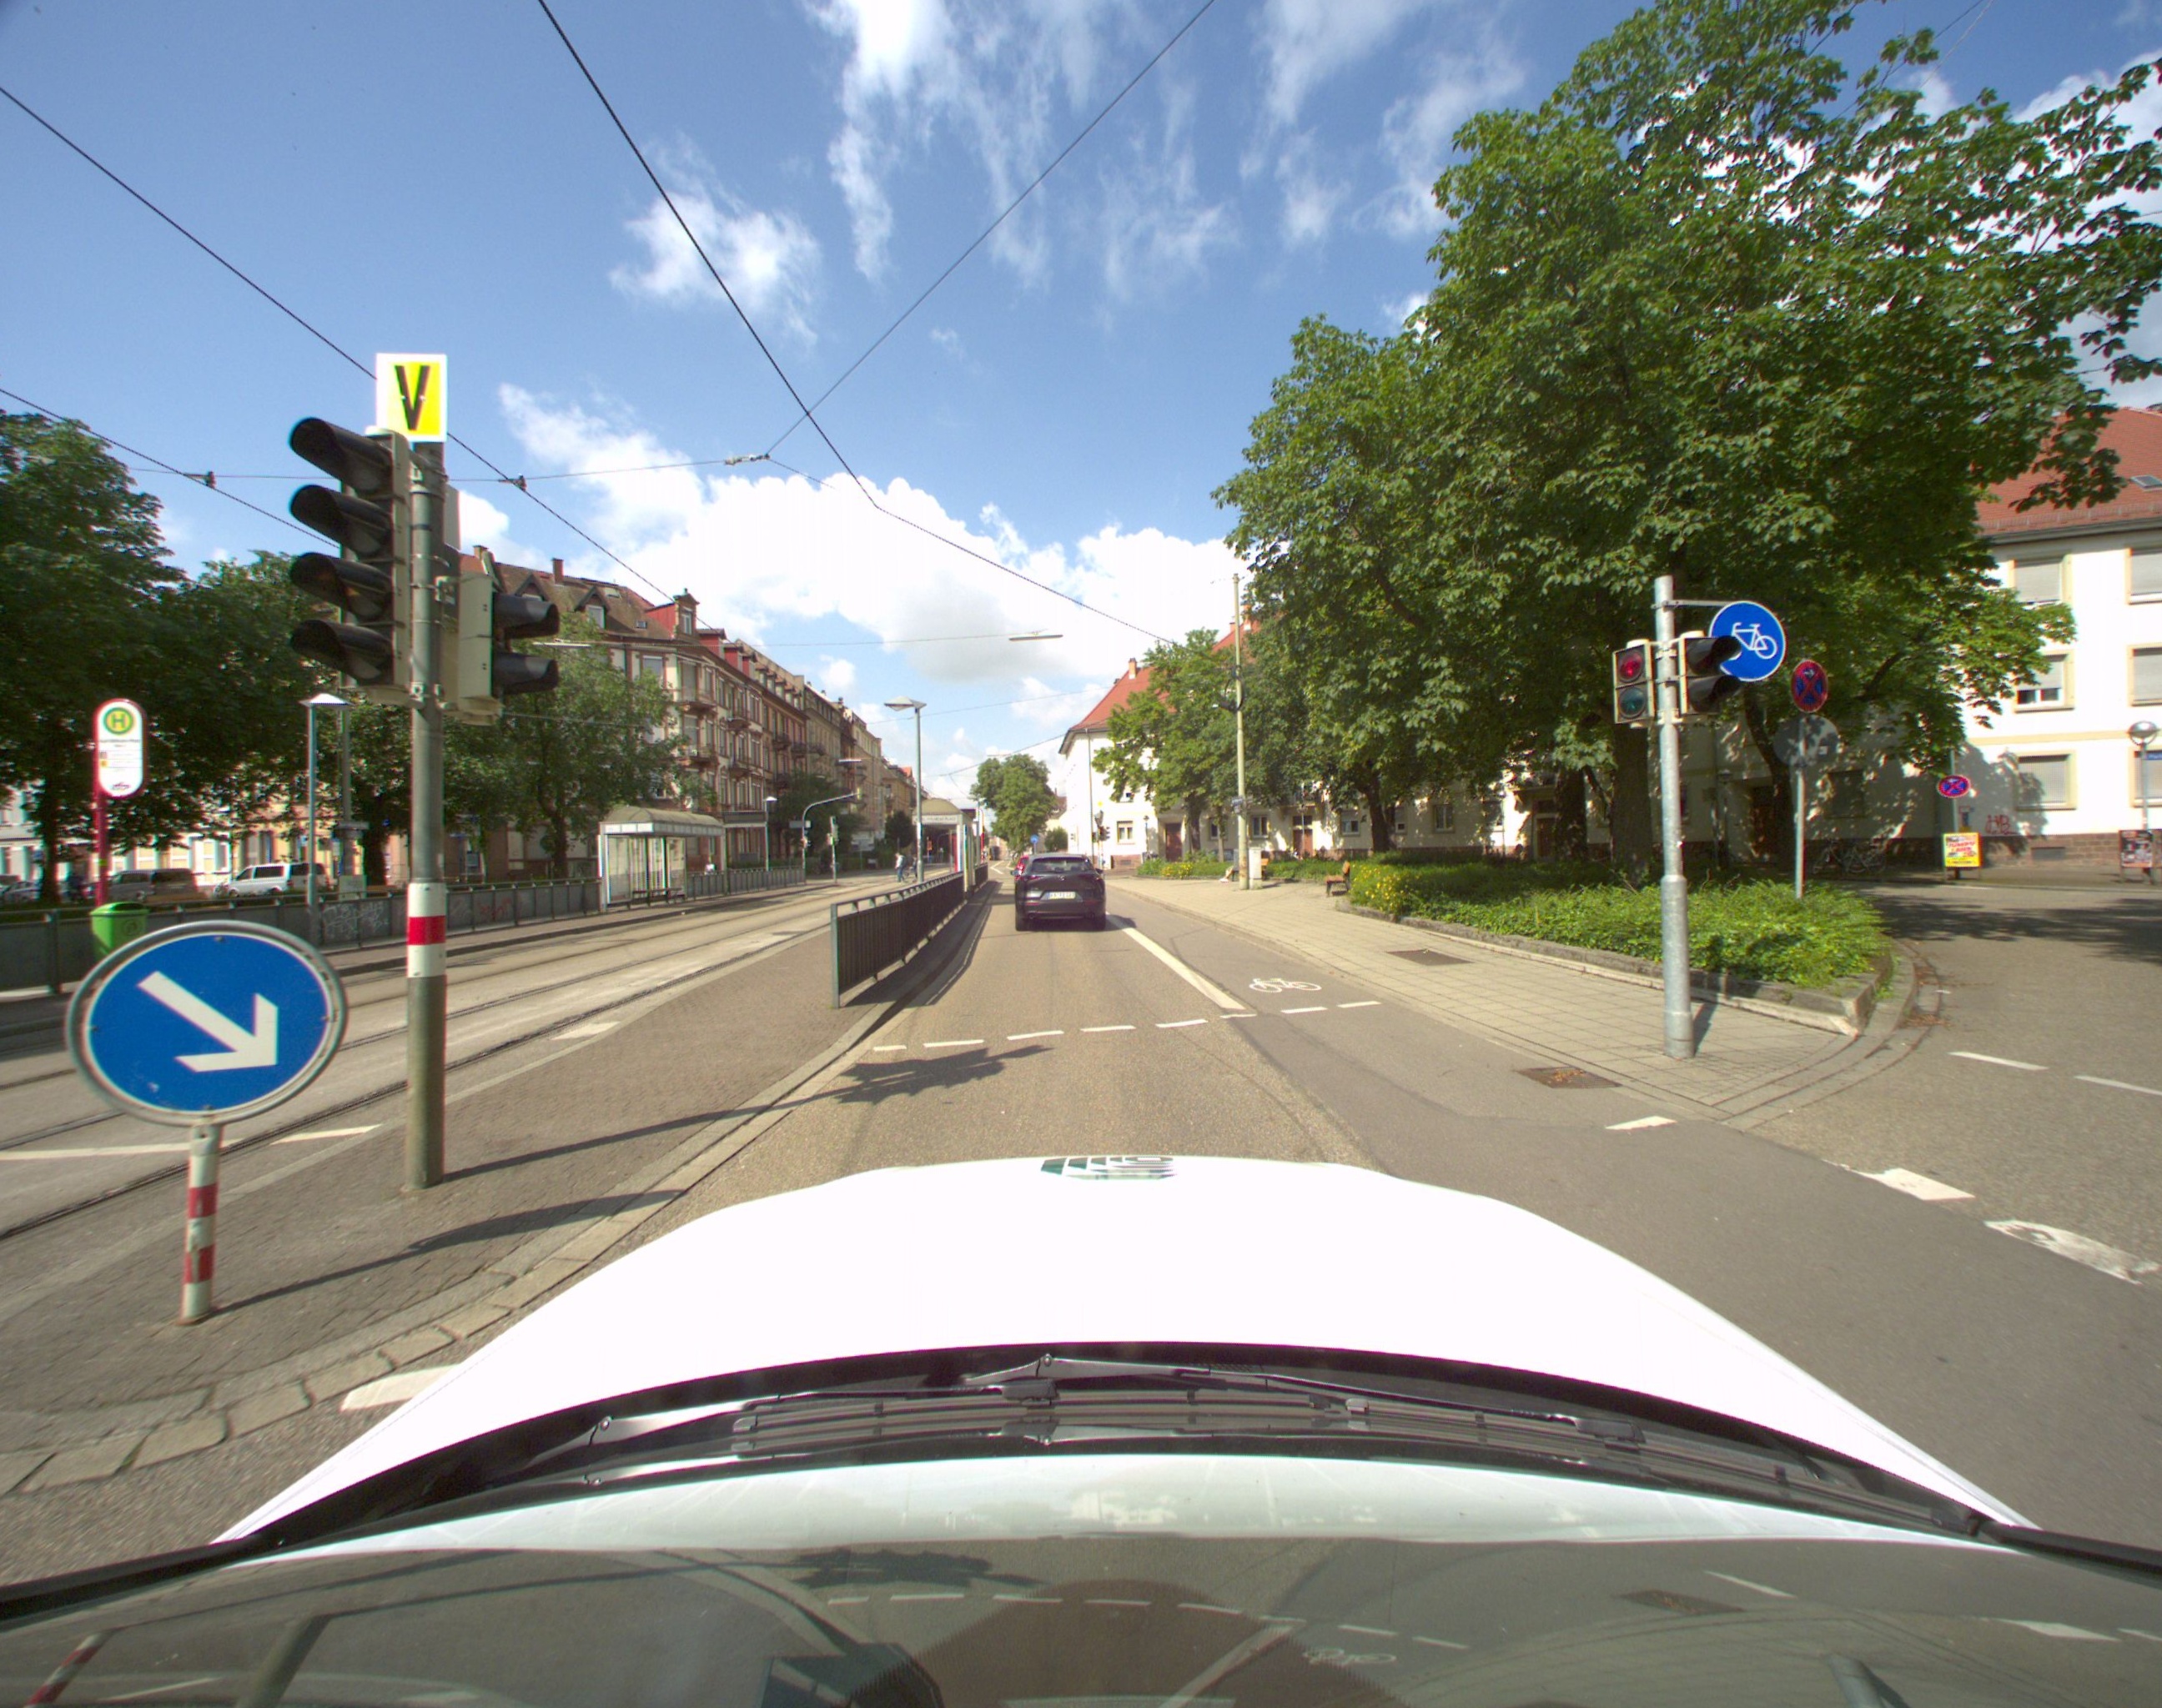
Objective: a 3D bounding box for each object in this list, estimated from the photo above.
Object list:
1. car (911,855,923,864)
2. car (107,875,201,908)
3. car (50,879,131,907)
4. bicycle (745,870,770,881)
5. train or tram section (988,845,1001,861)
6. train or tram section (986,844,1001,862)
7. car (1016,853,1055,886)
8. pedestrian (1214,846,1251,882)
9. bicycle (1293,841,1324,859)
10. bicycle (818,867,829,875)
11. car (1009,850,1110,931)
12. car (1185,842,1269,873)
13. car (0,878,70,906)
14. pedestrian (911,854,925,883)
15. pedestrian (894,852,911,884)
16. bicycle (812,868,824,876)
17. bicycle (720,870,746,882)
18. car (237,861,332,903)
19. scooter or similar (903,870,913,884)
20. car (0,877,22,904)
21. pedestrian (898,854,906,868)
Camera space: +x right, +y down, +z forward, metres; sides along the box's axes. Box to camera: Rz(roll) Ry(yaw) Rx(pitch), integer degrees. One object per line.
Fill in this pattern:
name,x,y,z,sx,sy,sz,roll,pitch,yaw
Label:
car,-29.654,1.042,147.430,1.654,1.596,3.922,-2,0,-5
car,-50.260,2.028,44.169,3.896,1.663,1.925,-2,0,18
car,-55.535,2.185,45.656,3.654,1.393,1.500,-2,0,16
bicycle,-23.300,1.533,58.677,0.381,0.747,1.722,-2,0,31
train or tram section,-22.424,-0.135,212.486,2.992,3.983,13.784,-2,-1,-5
train or tram section,-21.324,-0.236,198.895,2.992,3.983,13.784,-2,-1,-5
car,-2.181,0.710,38.331,1.772,1.464,3.836,0,0,-5
pedestrian,5.724,0.377,30.795,1.192,1.269,0.556,-4,0,-10
bicycle,13.831,-0.247,49.605,0.570,1.020,1.732,-4,2,-42
bicycle,-21.900,1.446,69.384,0.384,0.677,1.711,-2,0,0
car,-0.571,0.697,17.312,1.780,1.514,3.991,1,0,-7
car,8.028,0.206,44.857,4.118,1.509,1.864,-1,2,37
car,-60.779,2.175,47.038,3.607,1.494,1.637,-2,0,15
pedestrian,-8.880,0.786,44.320,0.666,1.546,0.579,-2,0,-6
pedestrian,-9.849,0.764,44.903,0.770,1.674,0.666,-2,0,-6
bicycle,-21.673,1.489,67.192,0.384,0.653,1.711,-2,0,0
bicycle,-24.333,1.517,56.945,0.381,0.747,1.722,-2,0,31
car,-40.718,1.421,41.647,3.903,1.988,1.865,-1,0,19
scooter or similar,-9.408,1.241,44.284,0.413,0.721,0.485,-2,0,-5
car,-65.378,2.196,48.352,3.876,1.555,1.725,-2,0,17
pedestrian,-22.604,0.899,102.990,0.786,1.688,0.731,-2,0,-3
